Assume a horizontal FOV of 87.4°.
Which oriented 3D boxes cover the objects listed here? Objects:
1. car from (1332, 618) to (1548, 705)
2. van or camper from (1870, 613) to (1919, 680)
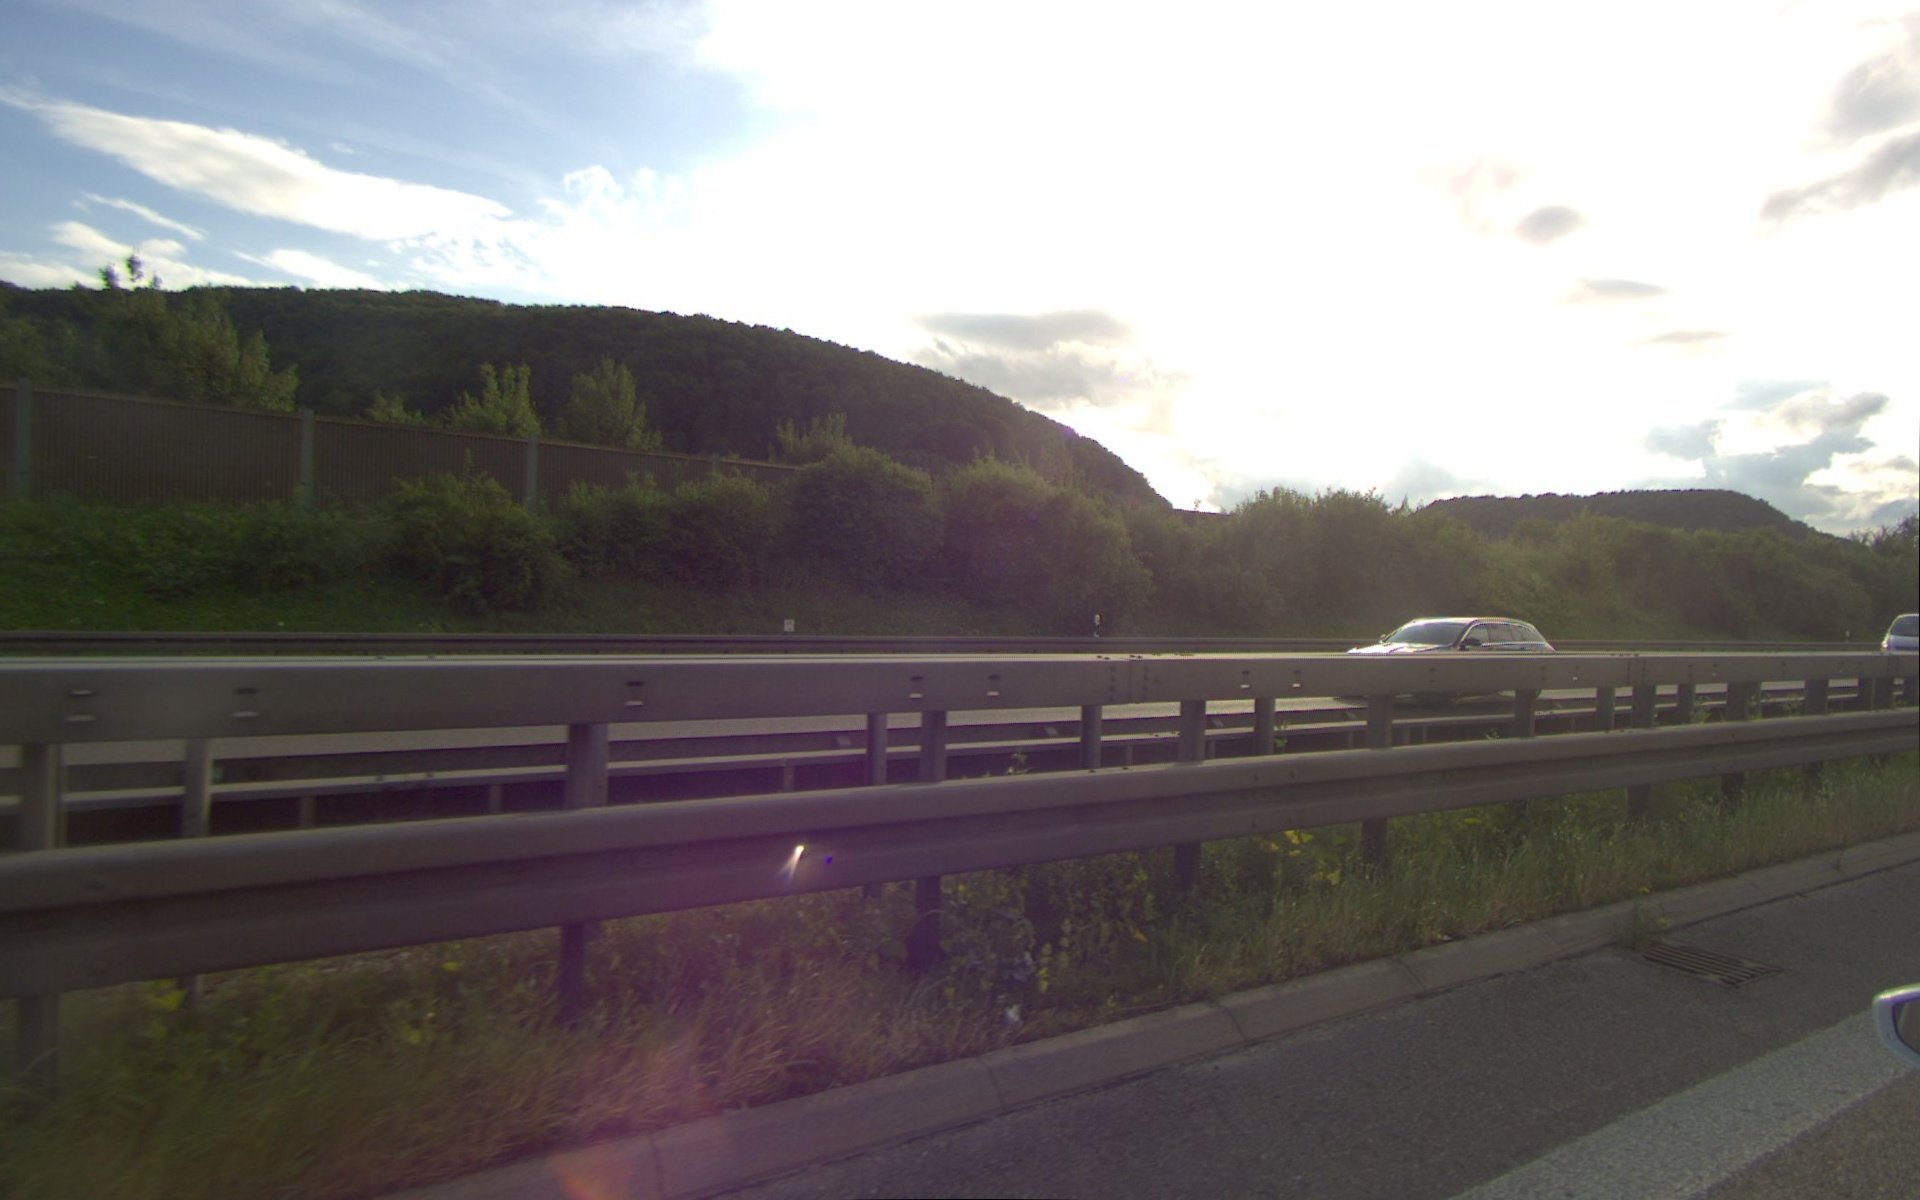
[{"bbox_3d":[8.848,1.083,18.459,3.954,1.415,1.676,2,-1,-31],"label":"car"},{"bbox_3d":[30.735,1.445,31.479,5.339,1.965,1.839,2,0,-31],"label":"van or camper"}]
